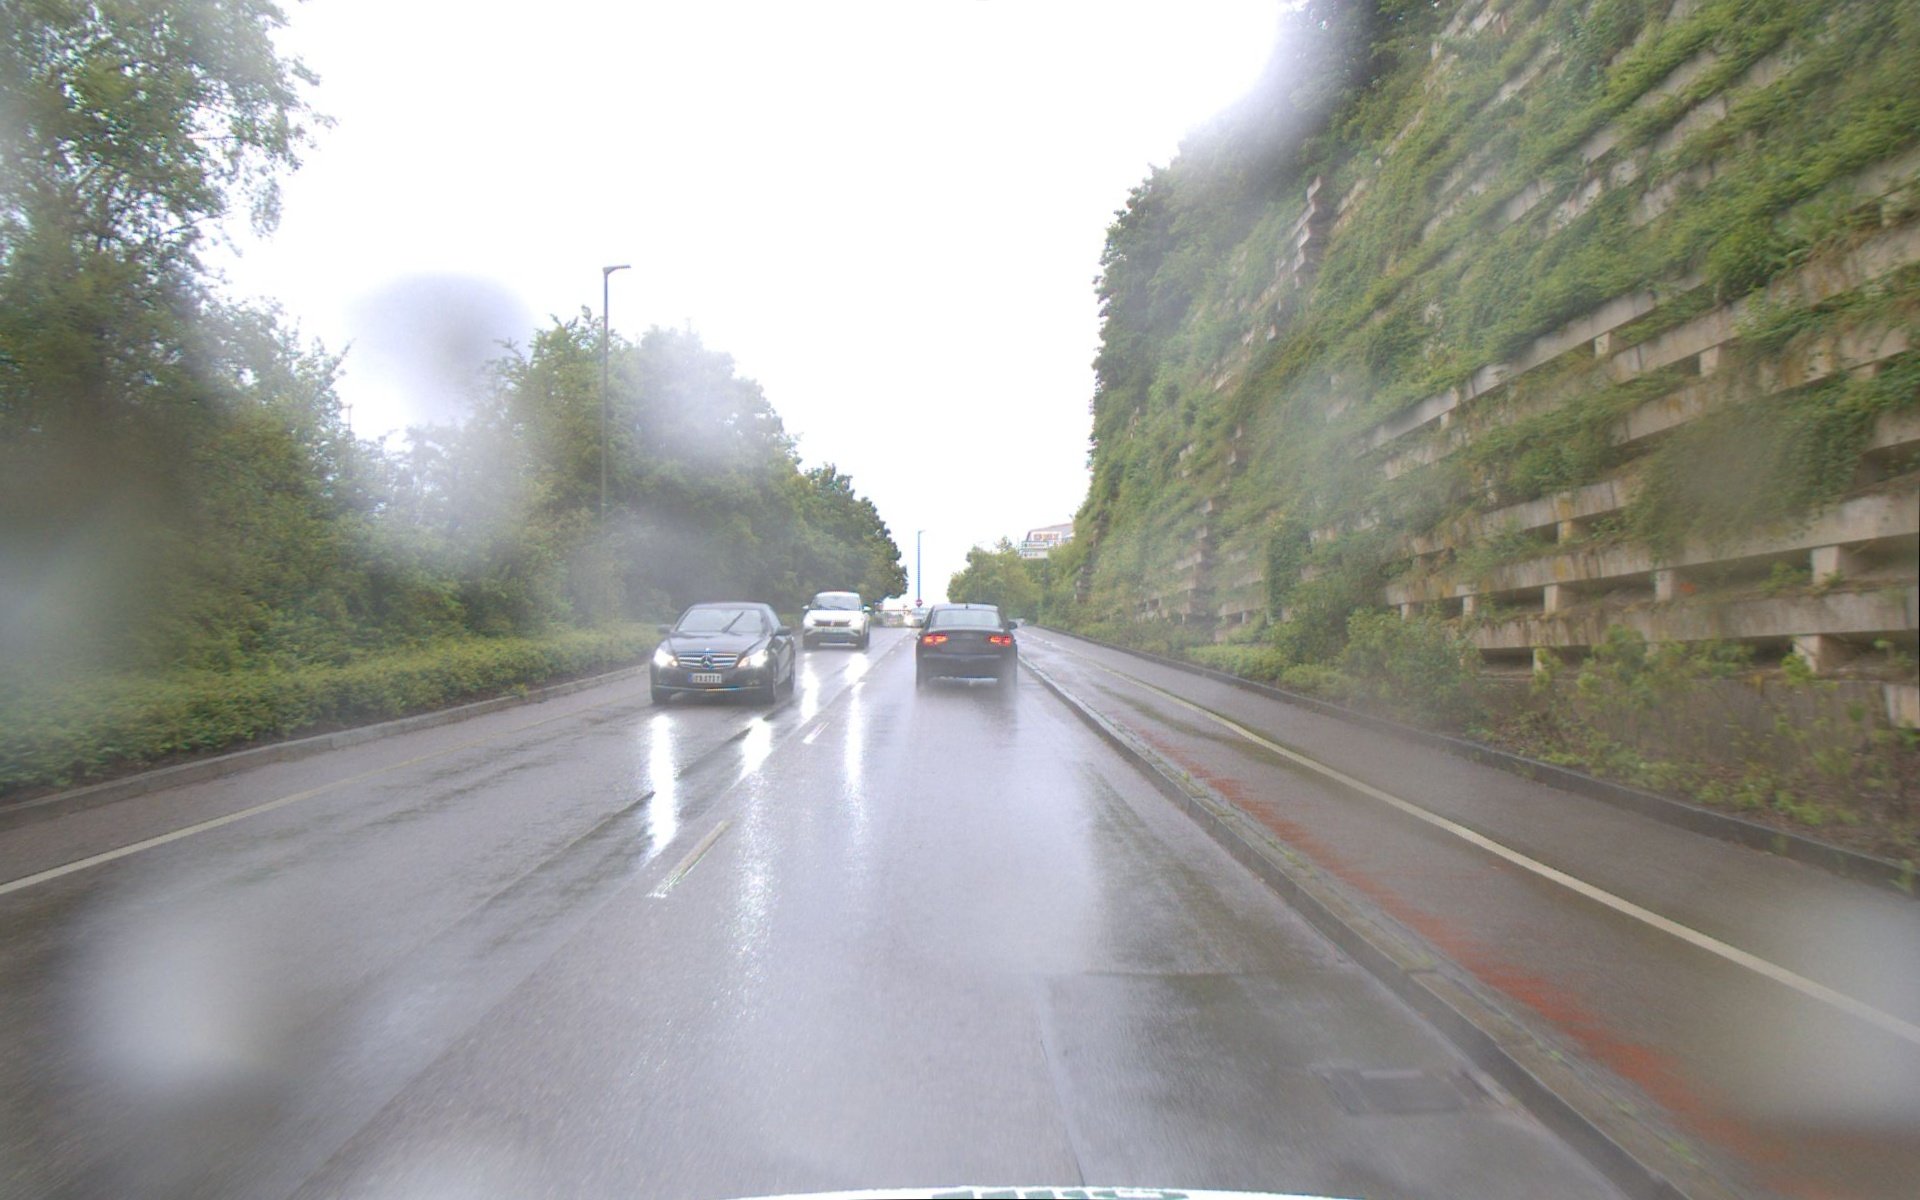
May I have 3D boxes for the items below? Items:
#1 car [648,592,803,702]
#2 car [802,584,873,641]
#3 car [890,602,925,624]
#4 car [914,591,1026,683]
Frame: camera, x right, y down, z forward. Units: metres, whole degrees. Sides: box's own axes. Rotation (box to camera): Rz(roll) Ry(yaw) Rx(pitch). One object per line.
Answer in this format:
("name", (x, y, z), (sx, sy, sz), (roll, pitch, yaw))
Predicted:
("car", (-3.406, 0.627, 24.758), (1.827, 1.474, 4.375), (-1, 0, -2))
("car", (-3.629, 0.350, 49.565), (1.785, 1.643, 4.093), (1, 0, 0))
("car", (-3.505, 0.856, 111.102), (1.952, 1.388, 4.253), (1, 0, 3))
("car", (0.210, 0.601, 29.399), (1.853, 1.518, 4.208), (0, 0, 1))
